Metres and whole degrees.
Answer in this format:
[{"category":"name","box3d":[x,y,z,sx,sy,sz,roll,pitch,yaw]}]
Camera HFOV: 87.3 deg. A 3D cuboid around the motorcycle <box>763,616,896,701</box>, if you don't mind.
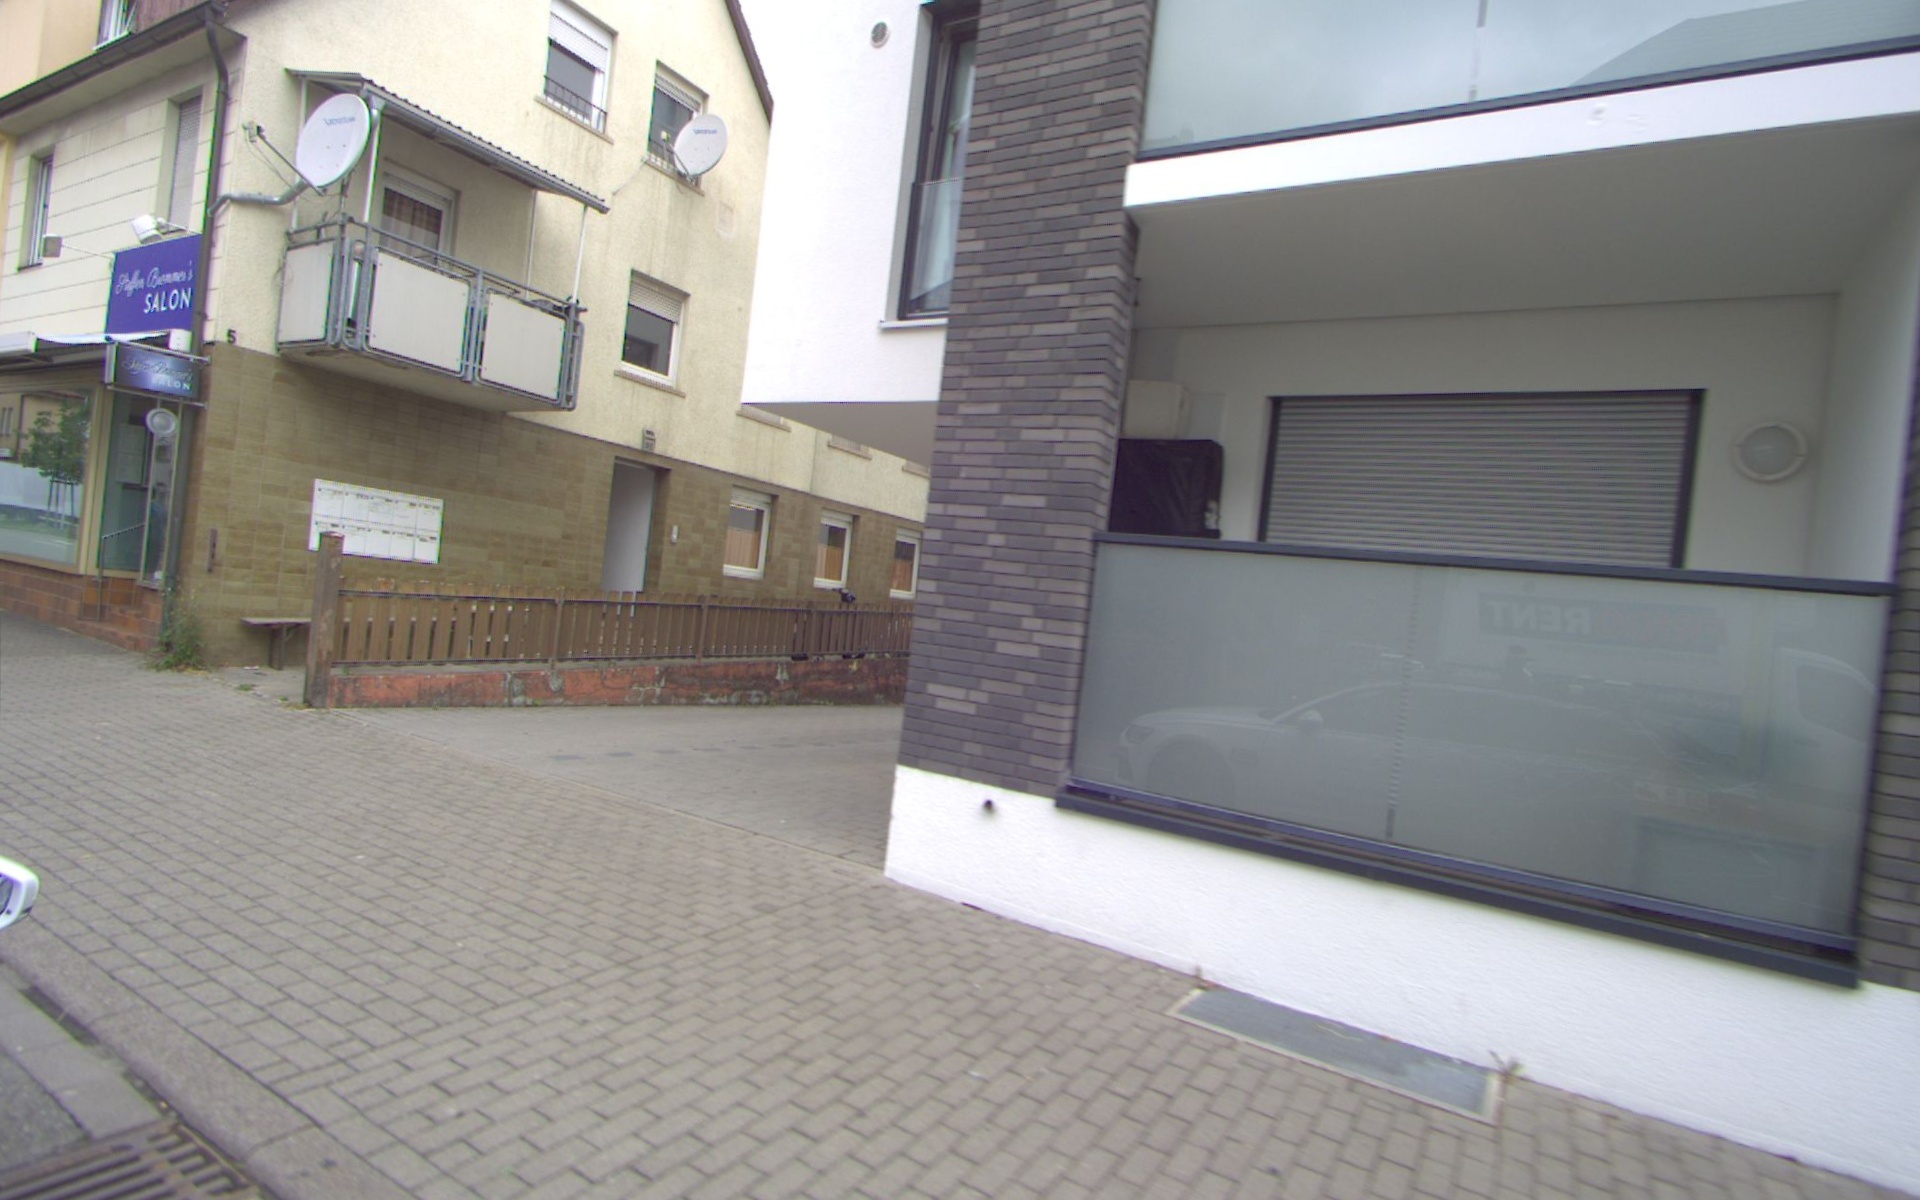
[{"category":"motorcycle","box3d":[-1.920,0.898,15.199,0.527,1.148,2.336,6,0,32]}]
